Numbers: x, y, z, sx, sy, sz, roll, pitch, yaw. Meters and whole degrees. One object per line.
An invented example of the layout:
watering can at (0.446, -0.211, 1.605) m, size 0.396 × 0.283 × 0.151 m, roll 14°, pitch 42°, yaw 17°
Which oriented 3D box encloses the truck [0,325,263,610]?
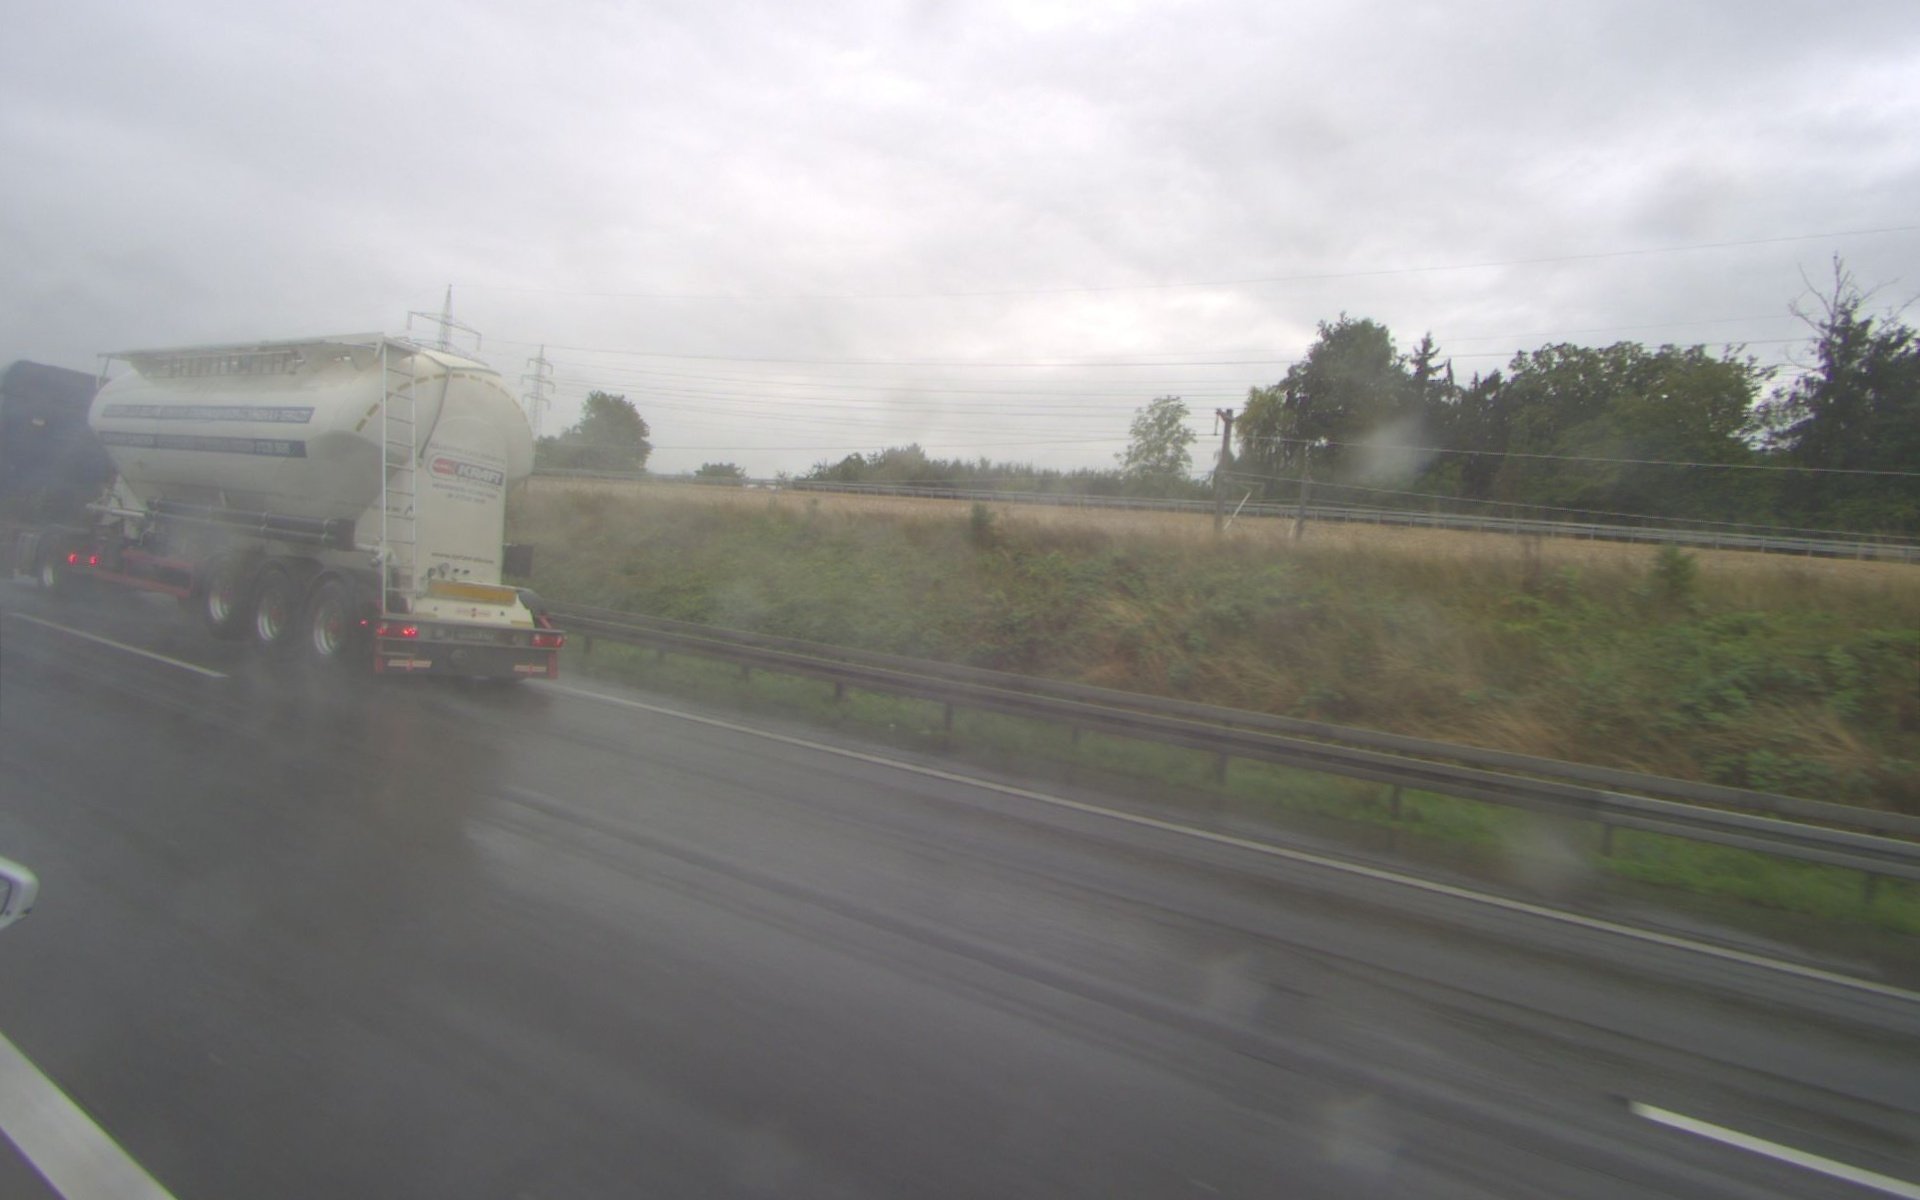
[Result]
truck at (-14.811, -2.219, 17.233) m, size 4.990 × 4.031 × 2.501 m, roll 8°, pitch -1°, yaw 31°

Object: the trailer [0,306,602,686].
trailer at (-9.986, -1.589, 14.328) m, size 10.880 × 3.928 × 2.502 m, roll 7°, pitch -1°, yaw 31°
